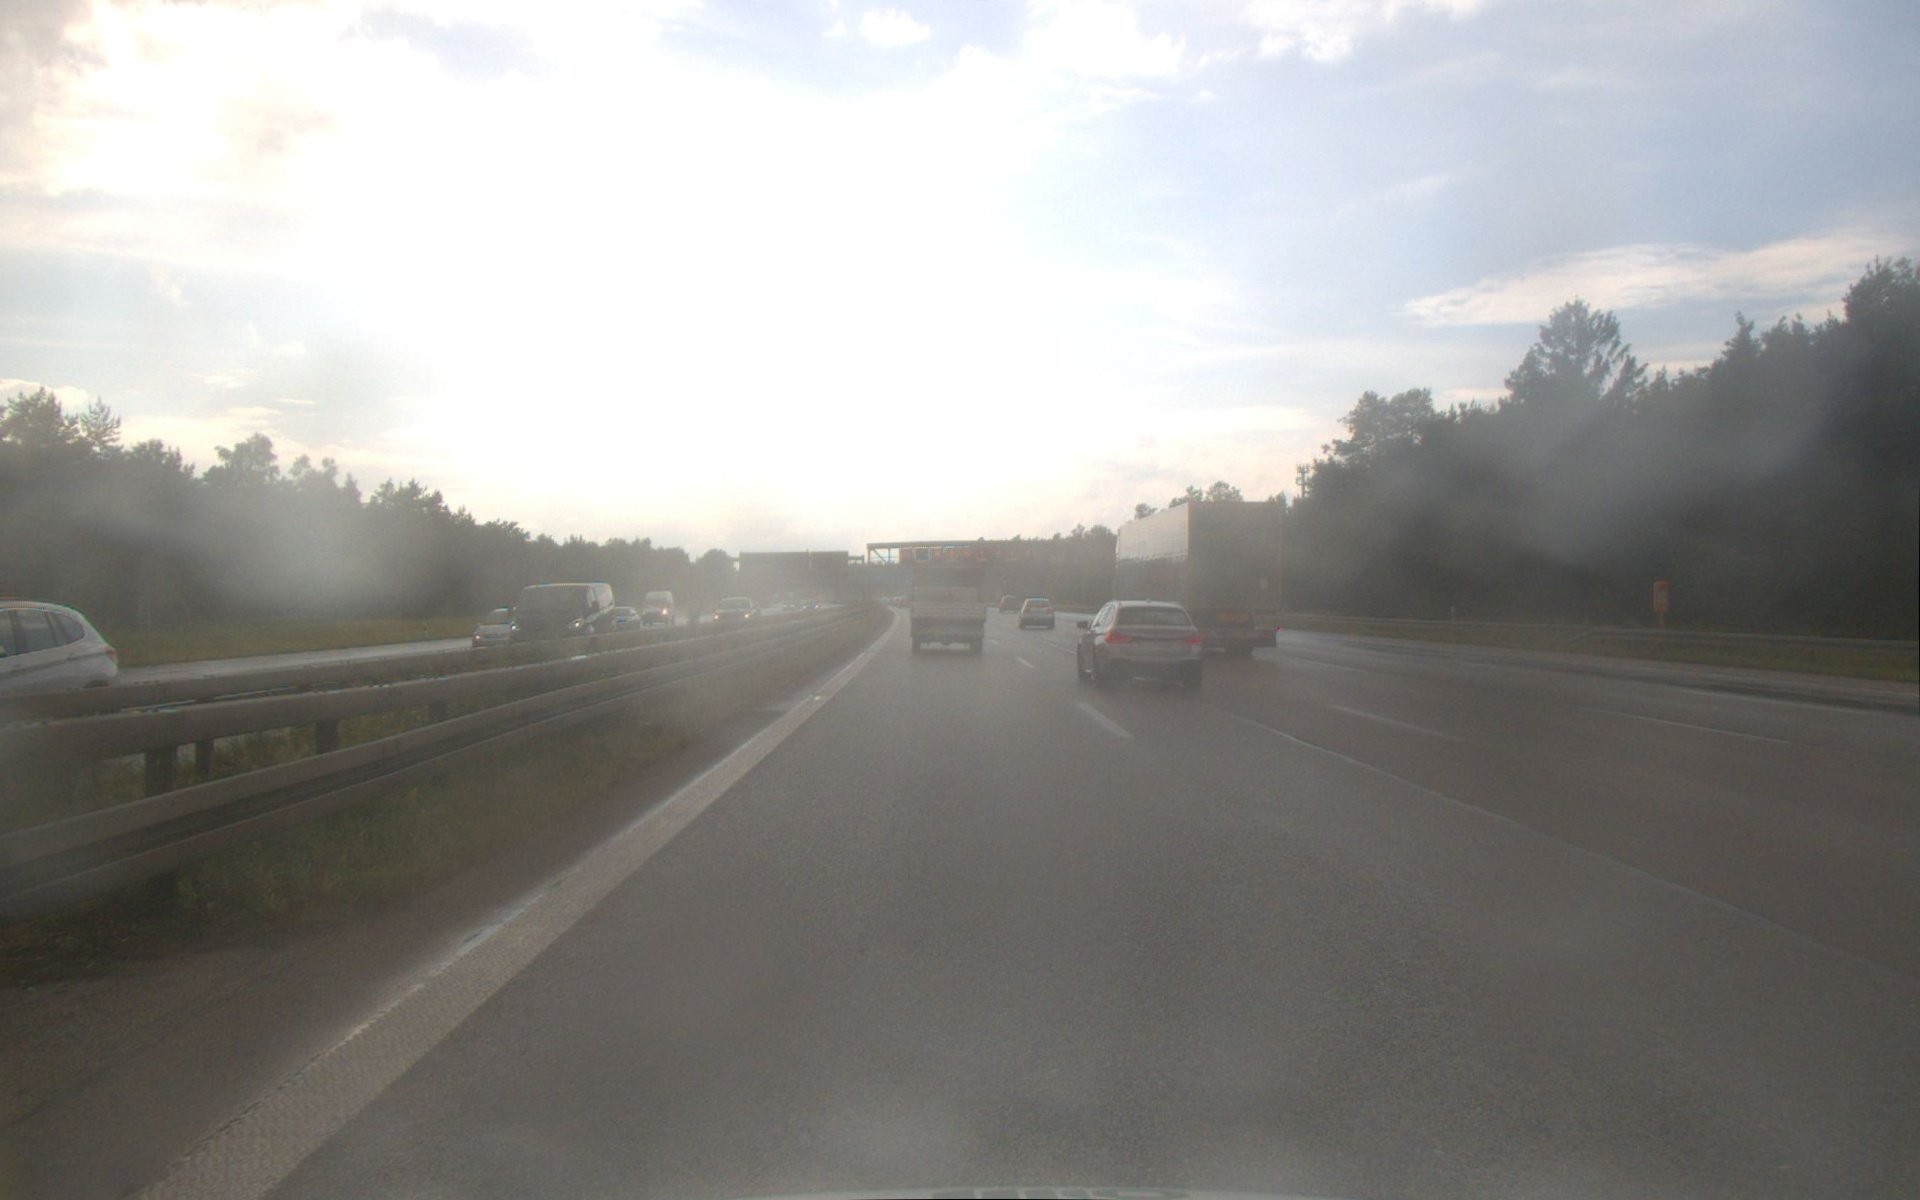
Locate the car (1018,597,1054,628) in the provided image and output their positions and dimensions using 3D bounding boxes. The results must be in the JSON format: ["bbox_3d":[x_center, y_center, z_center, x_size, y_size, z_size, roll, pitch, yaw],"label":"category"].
[{"bbox_3d":[3.862,0.614,84.399,1.793,1.492,4.001,1,0,2],"label":"car"}]

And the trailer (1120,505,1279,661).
[{"bbox_3d":[6.910,-0.454,49.849,2.277,4.071,13.405,0,0,-3],"label":"trailer"}]

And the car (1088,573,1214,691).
[{"bbox_3d":[3.296,0.517,29.400,2.034,1.918,5.014,0,0,4],"label":"car"}]

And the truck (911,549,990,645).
[{"bbox_3d":[-0.251,-0.097,46.359,2.093,2.532,5.312,0,0,0],"label":"truck"}]

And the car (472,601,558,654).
[{"bbox_3d":[-13.782,0.815,51.416,1.664,1.514,3.999,-1,0,-1],"label":"car"}]

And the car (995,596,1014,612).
[{"bbox_3d":[4.837,0.385,179.844,1.706,1.718,3.998,0,0,-3],"label":"car"}]

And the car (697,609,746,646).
[{"bbox_3d":[-10.818,1.238,75.218,1.734,1.566,3.999,-1,0,-1],"label":"car"}]

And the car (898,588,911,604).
[{"bbox_3d":[-7.228,-0.564,214.256,1.585,2.049,3.998,1,0,-3],"label":"car"}]

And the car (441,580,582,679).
[{"bbox_3d":[-9.950,0.628,37.057,1.953,2.049,4.625,-1,0,-1],"label":"car"}]

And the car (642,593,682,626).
[{"bbox_3d":[-23.729,0.729,132.096,2.056,2.554,6.582,-2,0,-1],"label":"car"}]

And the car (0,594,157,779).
[{"bbox_3d":[-9.289,0.762,15.040,1.822,1.616,4.489,-1,0,-1],"label":"car"}]
